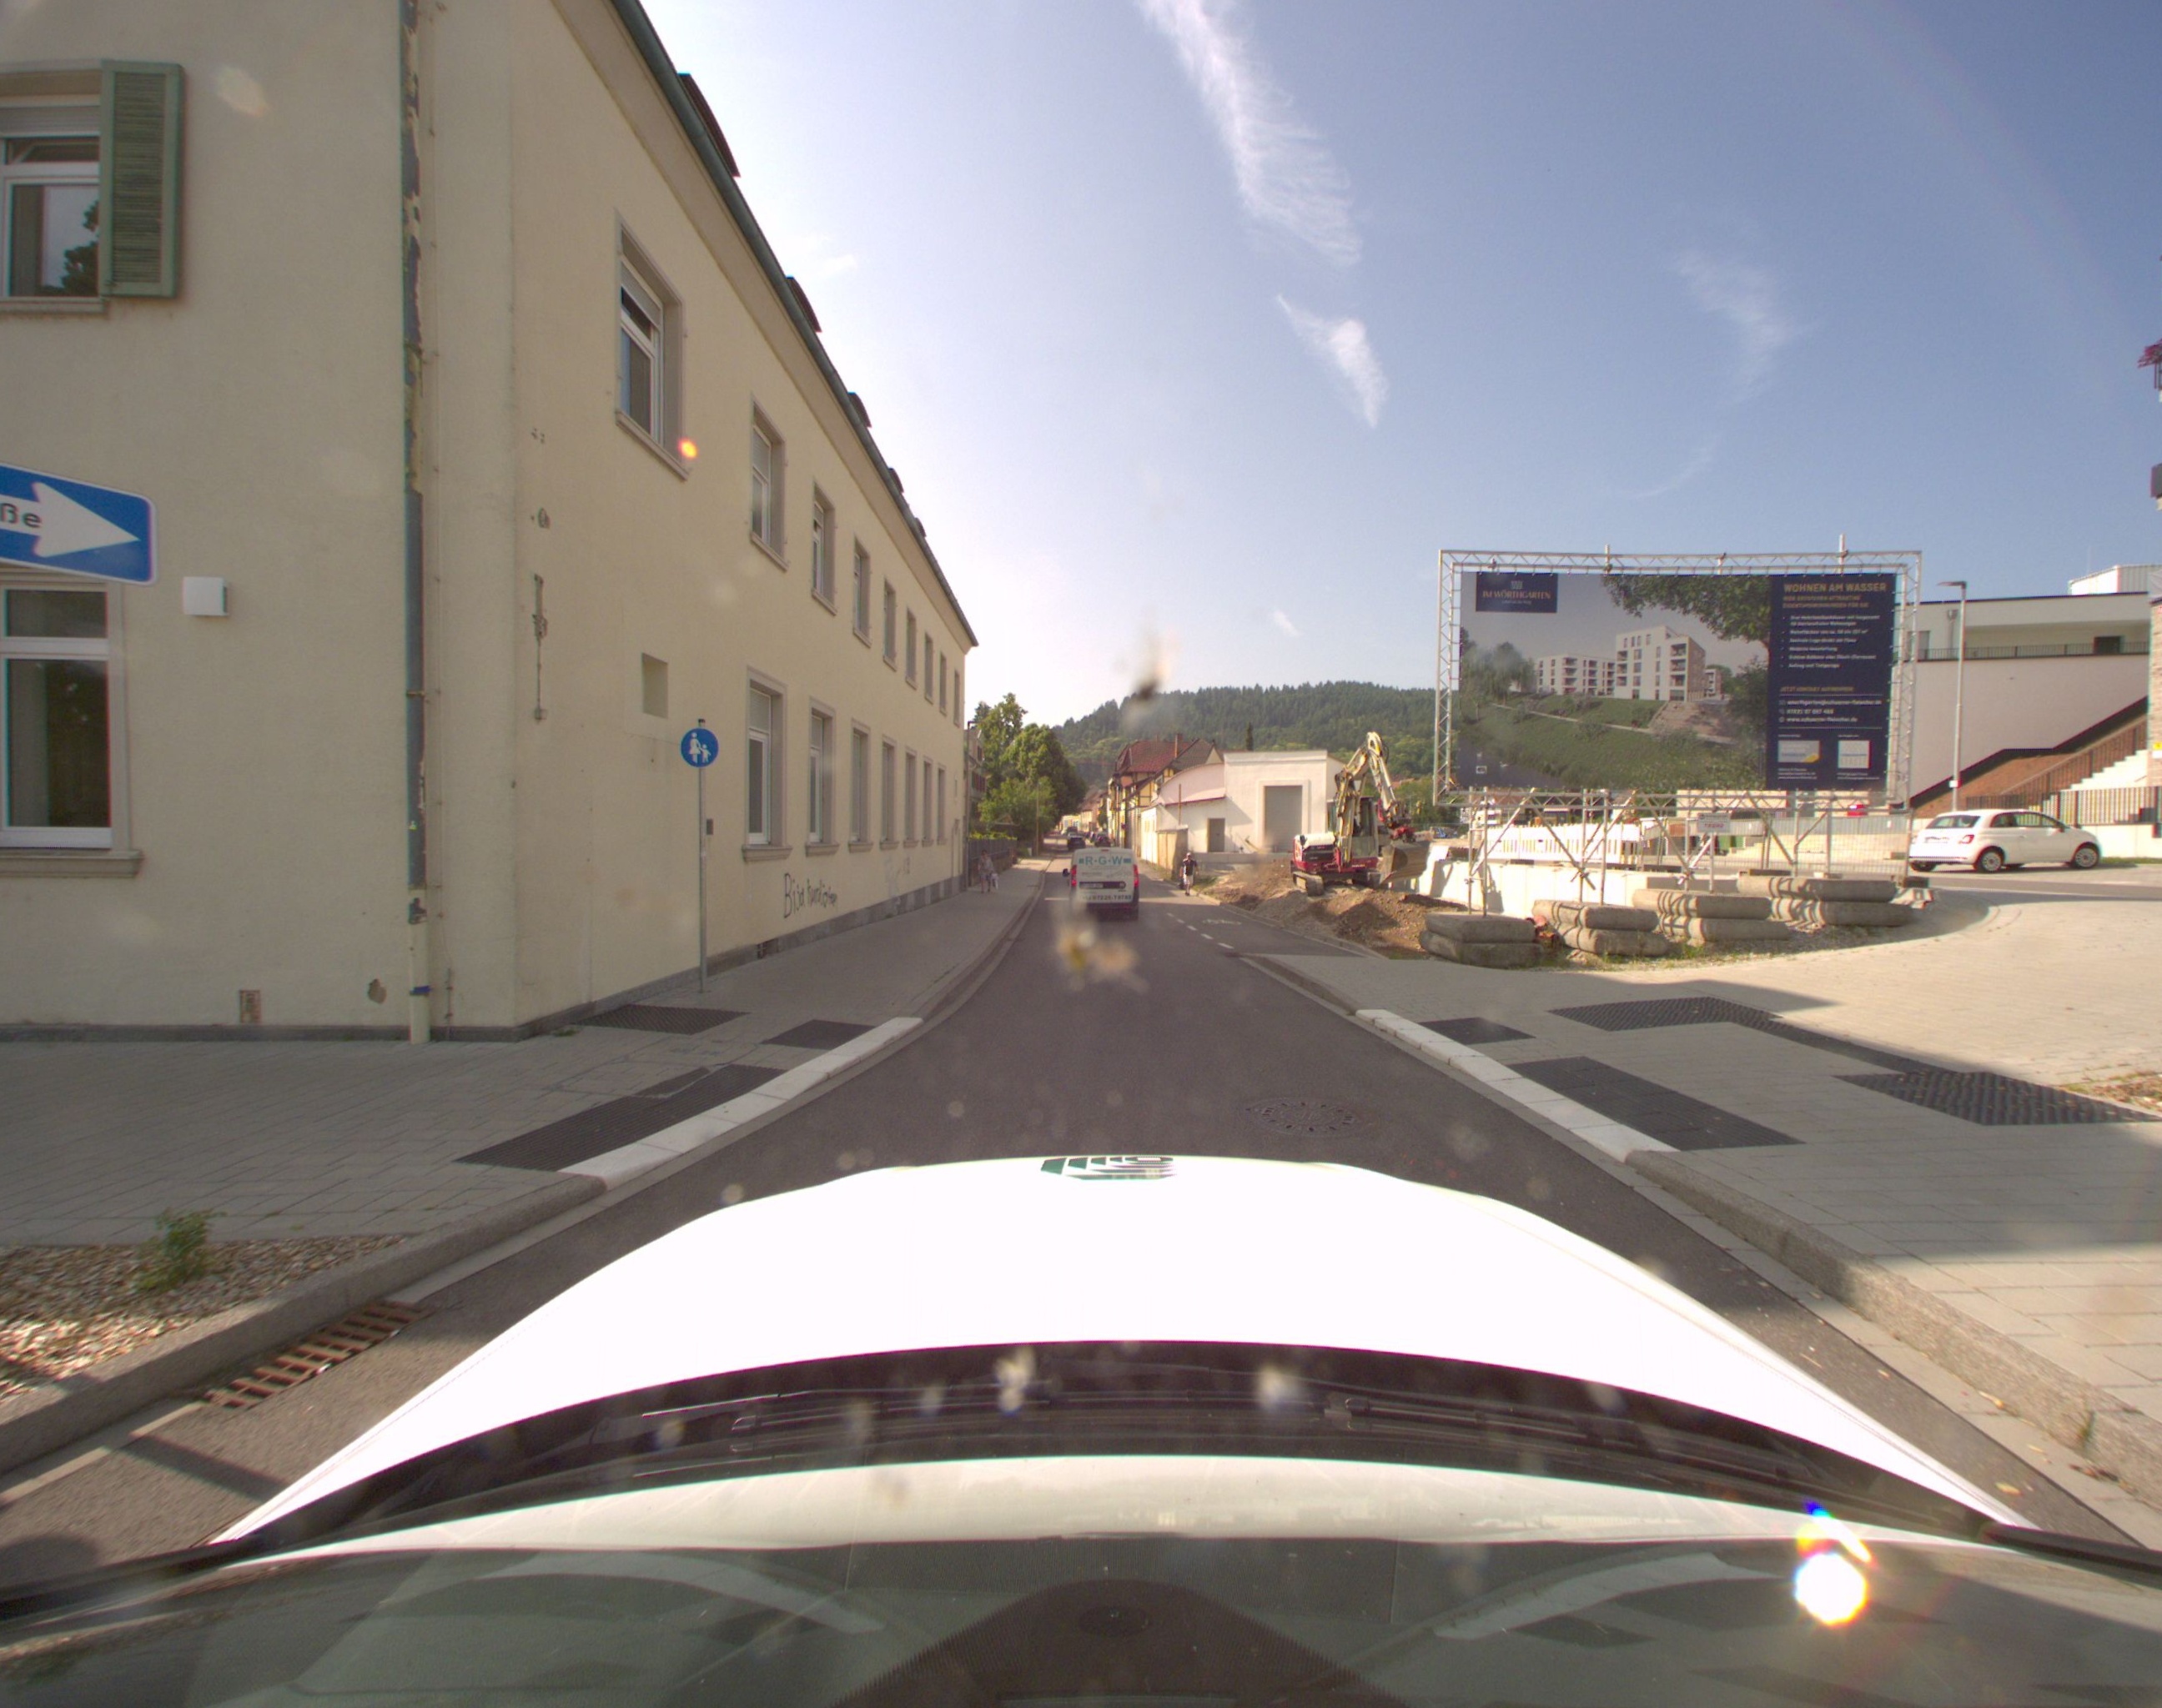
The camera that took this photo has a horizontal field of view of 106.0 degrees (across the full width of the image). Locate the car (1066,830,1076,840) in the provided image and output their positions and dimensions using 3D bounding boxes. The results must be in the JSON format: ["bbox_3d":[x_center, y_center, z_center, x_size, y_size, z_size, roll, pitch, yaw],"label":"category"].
[{"bbox_3d":[-1.833,-3.512,148.705,1.805,1.596,3.926,3,2,-1],"label":"car"}]

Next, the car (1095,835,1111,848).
[{"bbox_3d":[2.840,-1.640,104.817,1.805,1.596,3.926,3,2,-1],"label":"car"}]

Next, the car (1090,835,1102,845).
[{"bbox_3d":[2.472,-2.317,131.352,1.665,1.508,3.997,0,2,-3],"label":"car"}]

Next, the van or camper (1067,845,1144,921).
[{"bbox_3d":[0.560,0.728,22.185,1.823,1.844,4.185,-1,0,-2],"label":"van or camper"}]

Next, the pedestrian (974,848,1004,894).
[{"bbox_3d":[-3.423,0.628,30.339,0.955,1.631,0.758,3,0,-1],"label":"pedestrian"}]

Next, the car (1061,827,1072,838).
[{"bbox_3d":[-3.754,-5.667,211.670,2.868,2.835,6.119,0,2,-3],"label":"car"}]

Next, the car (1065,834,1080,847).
[{"bbox_3d":[-1.133,-1.755,106.876,1.806,1.596,3.923,3,2,-3],"label":"car"}]

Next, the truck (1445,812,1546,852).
[{"bbox_3d":[24.594,-1.275,48.538,5.266,2.265,2.232,0,0,25],"label":"truck"}]

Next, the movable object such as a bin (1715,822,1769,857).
[{"bbox_3d":[29.385,-0.671,36.224,1.291,1.463,1.324,3,2,9],"label":"movable object such as a bin"}]

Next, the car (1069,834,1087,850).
[{"bbox_3d":[-0.383,-1.390,89.754,1.806,1.596,3.925,3,2,-2],"label":"car"}]

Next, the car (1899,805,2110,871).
[{"bbox_3d":[22.274,-0.371,19.720,3.395,1.495,1.593,0,0,-2],"label":"car"}]

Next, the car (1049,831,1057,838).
[{"bbox_3d":[-7.735,-5.404,224.732,1.773,1.798,3.984,0,2,-12],"label":"car"}]

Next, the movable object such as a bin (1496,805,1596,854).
[{"bbox_3d":[25.263,-1.292,44.409,4.570,2.569,1.936,0,0,24],"label":"movable object such as a bin"}]

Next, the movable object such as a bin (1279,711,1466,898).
[{"bbox_3d":[7.122,-1.113,21.146,2.285,3.853,7.806,3,1,3],"label":"movable object such as a bin"}]

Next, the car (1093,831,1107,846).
[{"bbox_3d":[2.662,-2.148,114.848,1.866,2.013,3.999,1,2,-1],"label":"car"}]

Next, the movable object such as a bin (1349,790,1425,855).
[{"bbox_3d":[18.600,-1.865,49.273,2.823,3.621,5.772,4,3,34],"label":"movable object such as a bin"}]

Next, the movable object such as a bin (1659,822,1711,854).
[{"bbox_3d":[30.217,-0.813,40.779,1.571,1.463,1.324,3,2,9],"label":"movable object such as a bin"}]

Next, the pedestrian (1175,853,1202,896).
[{"bbox_3d":[4.260,0.804,32.349,0.886,1.683,0.718,2,0,-1],"label":"pedestrian"}]

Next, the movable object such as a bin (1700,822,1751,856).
[{"bbox_3d":[29.708,-0.709,37.567,1.291,1.463,1.324,3,2,9],"label":"movable object such as a bin"}]
